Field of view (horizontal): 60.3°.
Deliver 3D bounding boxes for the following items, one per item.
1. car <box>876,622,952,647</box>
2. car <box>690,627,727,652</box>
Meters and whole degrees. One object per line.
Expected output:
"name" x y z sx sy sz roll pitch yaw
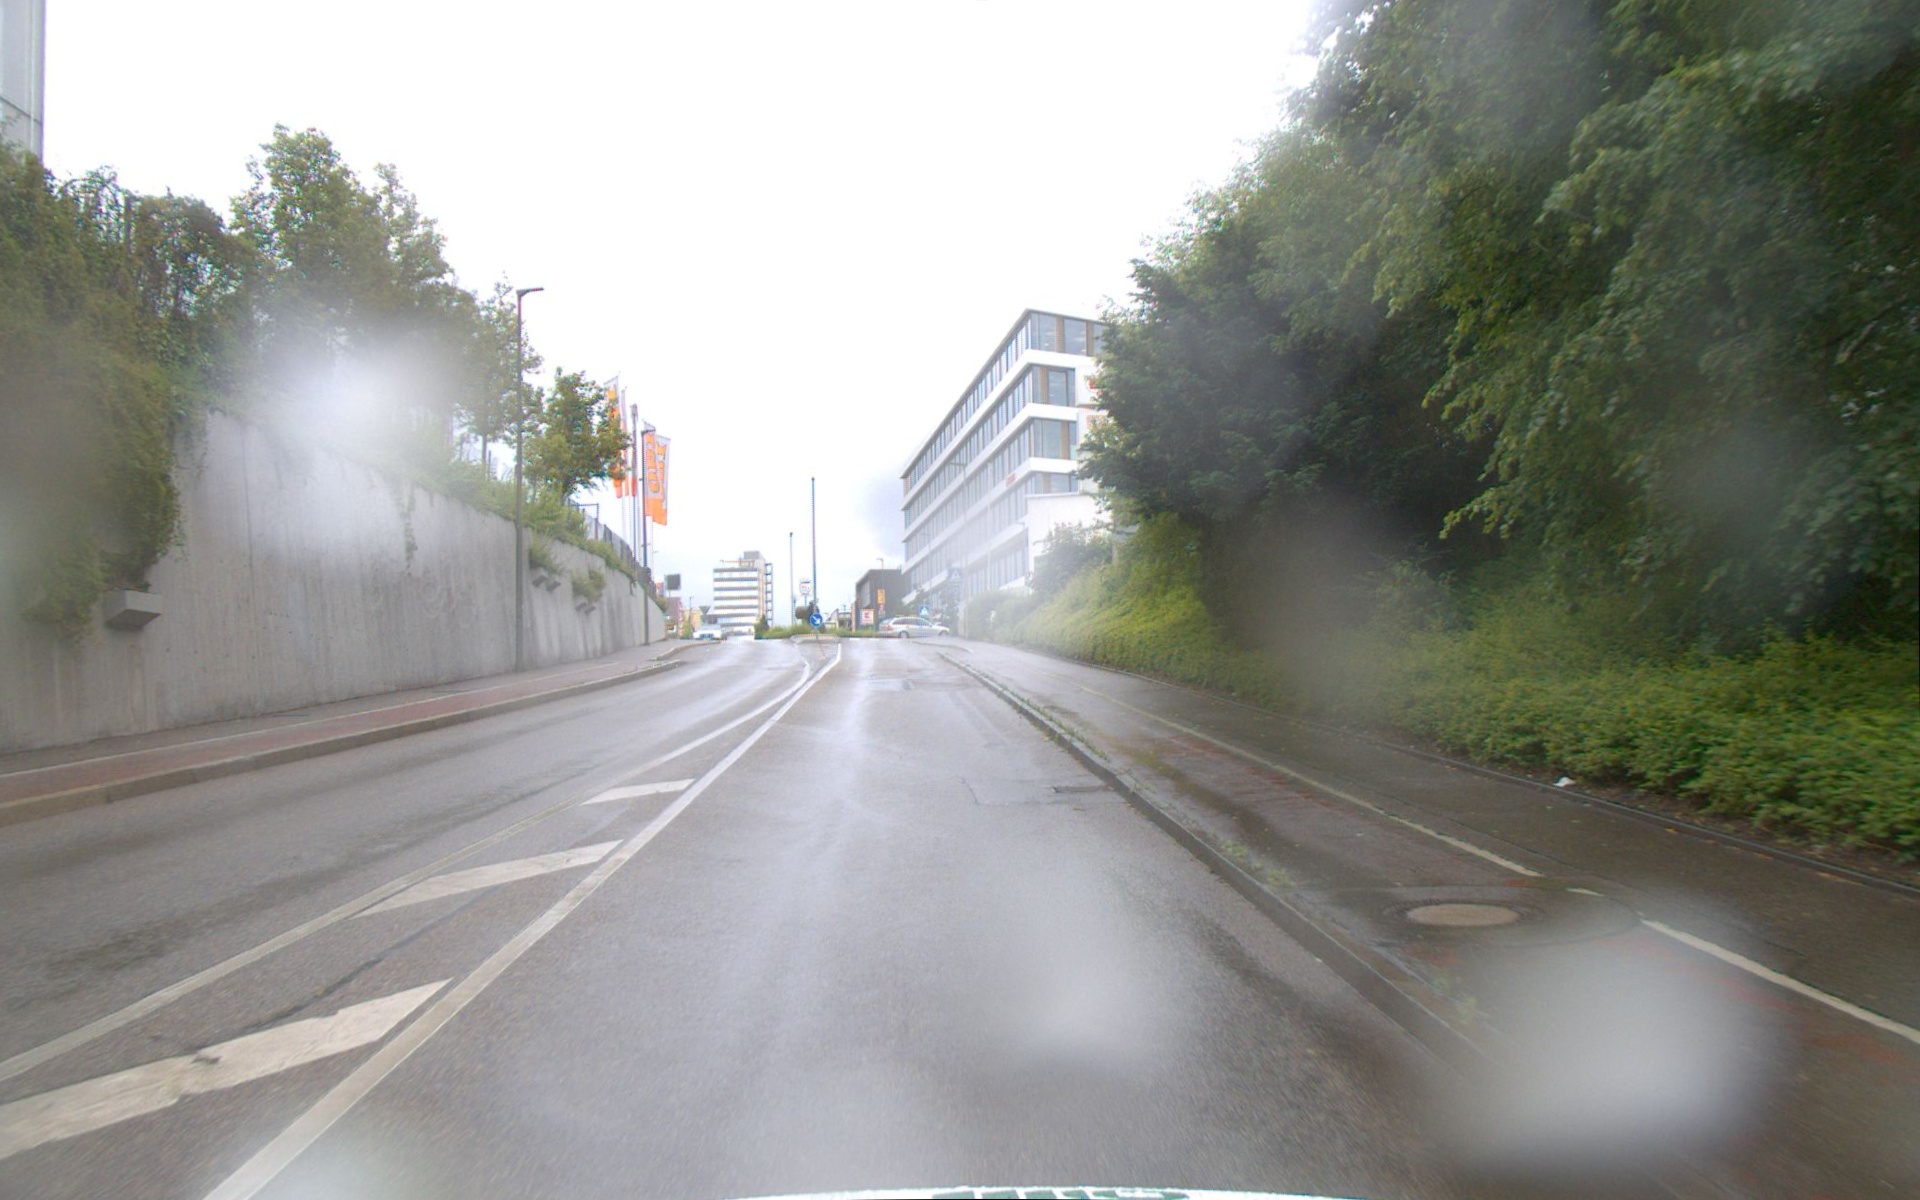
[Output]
"car" -2.709 2.017 97.463 4.189 1.386 1.630 -1 0 -29
"car" -15.816 2.498 104.089 1.962 1.451 4.776 -1 0 -5
